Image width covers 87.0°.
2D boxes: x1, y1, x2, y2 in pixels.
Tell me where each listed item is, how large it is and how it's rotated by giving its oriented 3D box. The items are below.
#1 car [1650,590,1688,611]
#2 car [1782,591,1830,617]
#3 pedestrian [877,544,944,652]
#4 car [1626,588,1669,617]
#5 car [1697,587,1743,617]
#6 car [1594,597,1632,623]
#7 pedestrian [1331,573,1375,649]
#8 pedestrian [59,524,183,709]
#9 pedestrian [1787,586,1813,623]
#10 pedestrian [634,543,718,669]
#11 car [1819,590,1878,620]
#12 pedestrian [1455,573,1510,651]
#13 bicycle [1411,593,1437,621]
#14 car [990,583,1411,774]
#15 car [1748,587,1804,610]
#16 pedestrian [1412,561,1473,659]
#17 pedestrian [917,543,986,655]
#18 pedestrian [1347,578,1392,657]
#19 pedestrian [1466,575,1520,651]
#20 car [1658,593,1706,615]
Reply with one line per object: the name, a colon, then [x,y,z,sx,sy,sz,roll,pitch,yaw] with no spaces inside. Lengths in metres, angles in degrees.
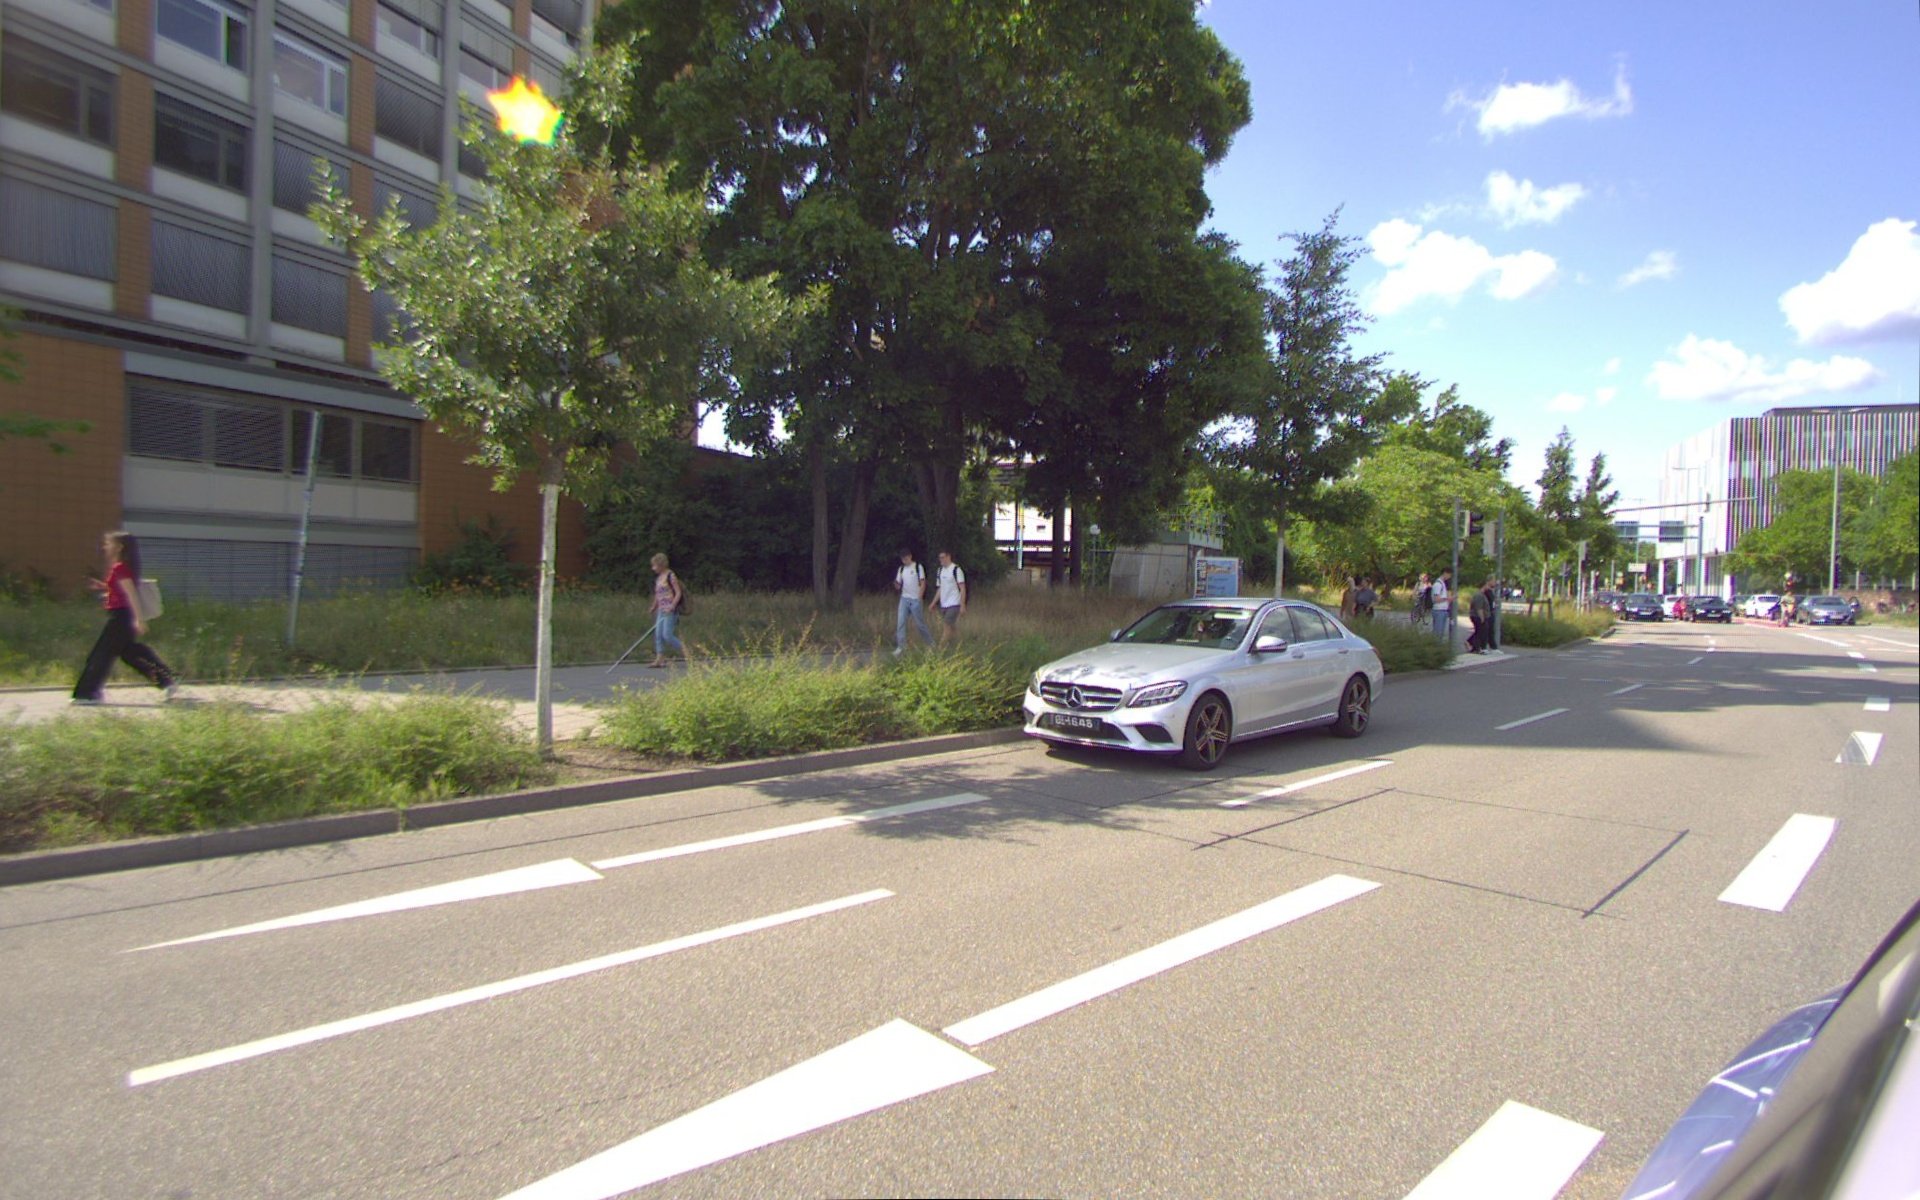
car: [44.726,-0.012,63.839,1.898,1.148,4.052,1,3,35]
car: [47.058,0.205,56.354,1.722,1.351,3.742,0,1,35]
pedestrian: [-0.819,-0.052,16.884,0.614,1.720,0.876,5,4,44]
car: [36.725,0.097,54.032,1.815,1.481,3.950,1,1,35]
car: [39.803,0.067,53.074,1.815,1.481,3.949,1,1,35]
car: [39.210,0.571,60.728,1.815,1.481,3.950,1,1,35]
pedestrian: [9.248,0.246,23.799,0.765,1.757,0.708,0,0,41]
pedestrian: [-7.898,0.128,9.544,0.874,1.642,0.615,0,4,-41]
pedestrian: [39.385,0.198,47.468,0.731,1.736,0.868,0,0,27]
pedestrian: [-3.887,0.061,13.862,0.614,1.642,0.876,5,4,44]
car: [43.775,0.200,49.950,1.990,1.393,4.210,1,1,39]
pedestrian: [12.101,0.261,23.453,0.755,1.757,0.926,0,0,-43]
bicycle: [16.102,0.229,35.126,0.643,0.892,1.803,2,1,30]
car: [2.623,0.591,10.229,4.680,1.473,1.932,0,1,-44]
car: [50.476,-0.101,62.649,1.761,1.371,3.966,0,1,25]
pedestrian: [10.310,0.194,21.642,0.755,2.039,0.963,0,0,-43]
pedestrian: [-0.128,-0.031,16.259,0.614,1.720,0.876,5,4,44]
pedestrian: [9.241,0.378,22.833,0.765,1.757,0.708,0,0,41]
pedestrian: [12.641,0.302,23.995,0.755,1.757,0.926,0,0,-43]
car: [41.415,0.199,58.113,1.582,1.148,3.597,1,1,25]
